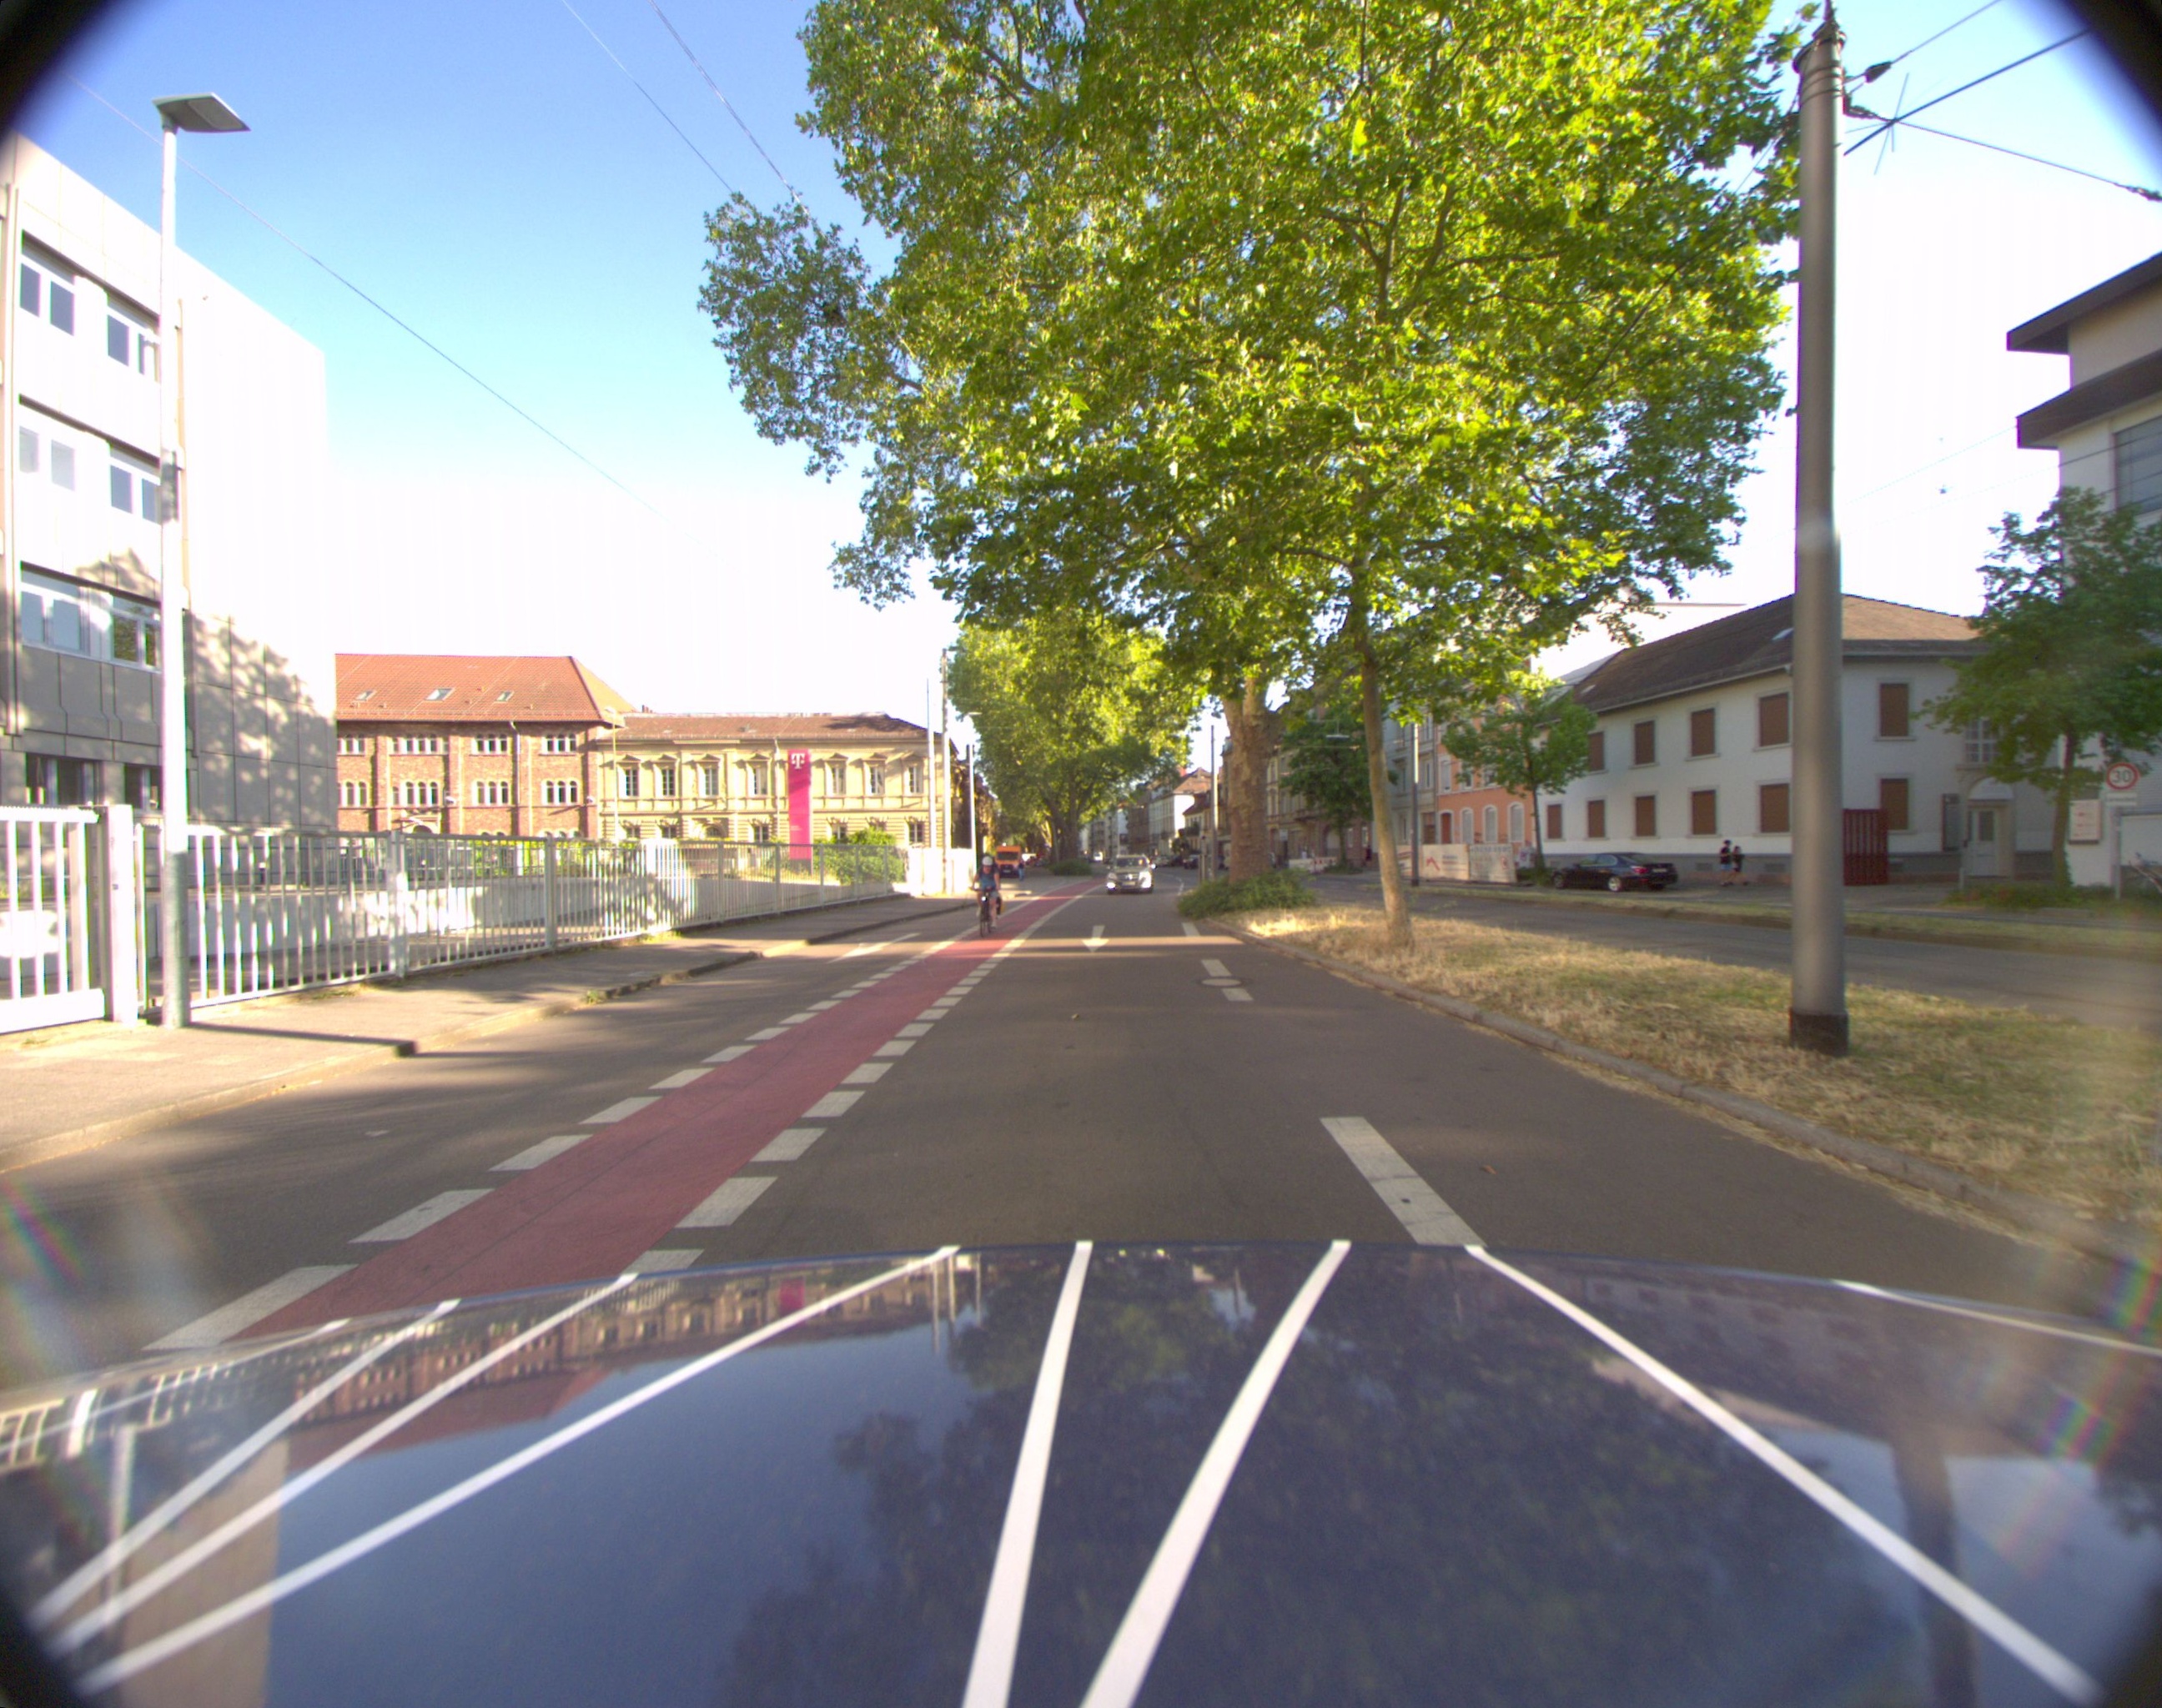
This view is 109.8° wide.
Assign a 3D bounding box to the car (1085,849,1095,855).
[{"bbox_3d":[2.530,-0.688,218.654,2.088,1.531,4.124,-4,1,-7],"label":"car"}]

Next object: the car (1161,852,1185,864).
[{"bbox_3d":[12.750,0.487,105.997,2.088,1.531,5.101,-4,1,-7],"label":"car"}]

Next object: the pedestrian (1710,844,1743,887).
[{"bbox_3d":[23.125,0.410,27.232,0.537,1.519,0.711,-1,1,-11],"label":"pedestrian"}]

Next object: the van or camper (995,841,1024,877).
[{"bbox_3d":[-5.454,0.356,58.705,1.999,2.578,5.623,-2,1,-4],"label":"van or camper"}]

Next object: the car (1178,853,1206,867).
[{"bbox_3d":[13.527,0.705,92.922,2.088,1.531,4.513,-4,1,-7],"label":"car"}]

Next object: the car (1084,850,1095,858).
[{"bbox_3d":[1.923,-0.060,174.553,1.999,1.741,3.998,-2,1,-4],"label":"car"}]

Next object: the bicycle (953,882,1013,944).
[{"bbox_3d":[-2.051,1.217,16.269,0.764,1.137,2.307,-1,0,5],"label":"bicycle"}]

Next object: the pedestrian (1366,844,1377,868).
[{"bbox_3d":[21.752,0.142,56.972,0.561,1.798,0.705,-1,1,2],"label":"pedestrian"}]

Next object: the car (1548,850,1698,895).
[{"bbox_3d":[20.522,0.631,29.053,2.088,1.462,4.576,-4,1,-7],"label":"car"}]

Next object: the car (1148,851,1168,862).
[{"bbox_3d":[11.599,0.380,114.876,2.088,1.531,4.036,-4,1,-7],"label":"car"}]

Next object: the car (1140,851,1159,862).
[{"bbox_3d":[10.803,0.343,120.797,2.088,1.531,4.095,-4,1,-7],"label":"car"}]

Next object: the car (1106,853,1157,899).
[{"bbox_3d":[2.211,0.853,32.143,1.907,1.634,4.518,-3,1,6],"label":"car"}]

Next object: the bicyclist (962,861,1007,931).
[{"bbox_3d":[-2.064,0.878,16.296,0.727,1.414,0.859,-2,1,5],"label":"bicyclist"}]

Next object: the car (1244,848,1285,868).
[{"bbox_3d":[16.880,0.376,70.204,2.088,1.664,4.530,-4,1,-7],"label":"car"}]

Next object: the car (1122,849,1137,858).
[{"bbox_3d":[9.004,-0.030,140.917,2.088,1.531,4.006,-4,1,-7],"label":"car"}]

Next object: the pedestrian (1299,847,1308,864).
[{"bbox_3d":[20.191,0.120,68.987,0.641,1.519,0.615,-1,1,-6],"label":"pedestrian"}]

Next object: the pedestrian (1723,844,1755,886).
[{"bbox_3d":[24.068,0.403,27.816,0.537,1.519,0.711,-1,1,-5],"label":"pedestrian"}]

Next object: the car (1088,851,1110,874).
[{"bbox_3d":[1.763,0.815,72.235,1.998,2.002,4.000,-2,1,2],"label":"car"}]

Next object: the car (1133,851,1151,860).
[{"bbox_3d":[10.474,0.263,130.706,2.088,1.531,4.253,-4,1,-7],"label":"car"}]

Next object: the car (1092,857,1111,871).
[{"bbox_3d":[2.181,1.050,80.163,1.998,1.376,4.000,-2,1,2],"label":"car"}]

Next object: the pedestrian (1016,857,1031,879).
[{"bbox_3d":[-3.877,0.912,51.401,0.898,1.464,0.810,-1,1,5],"label":"pedestrian"}]
